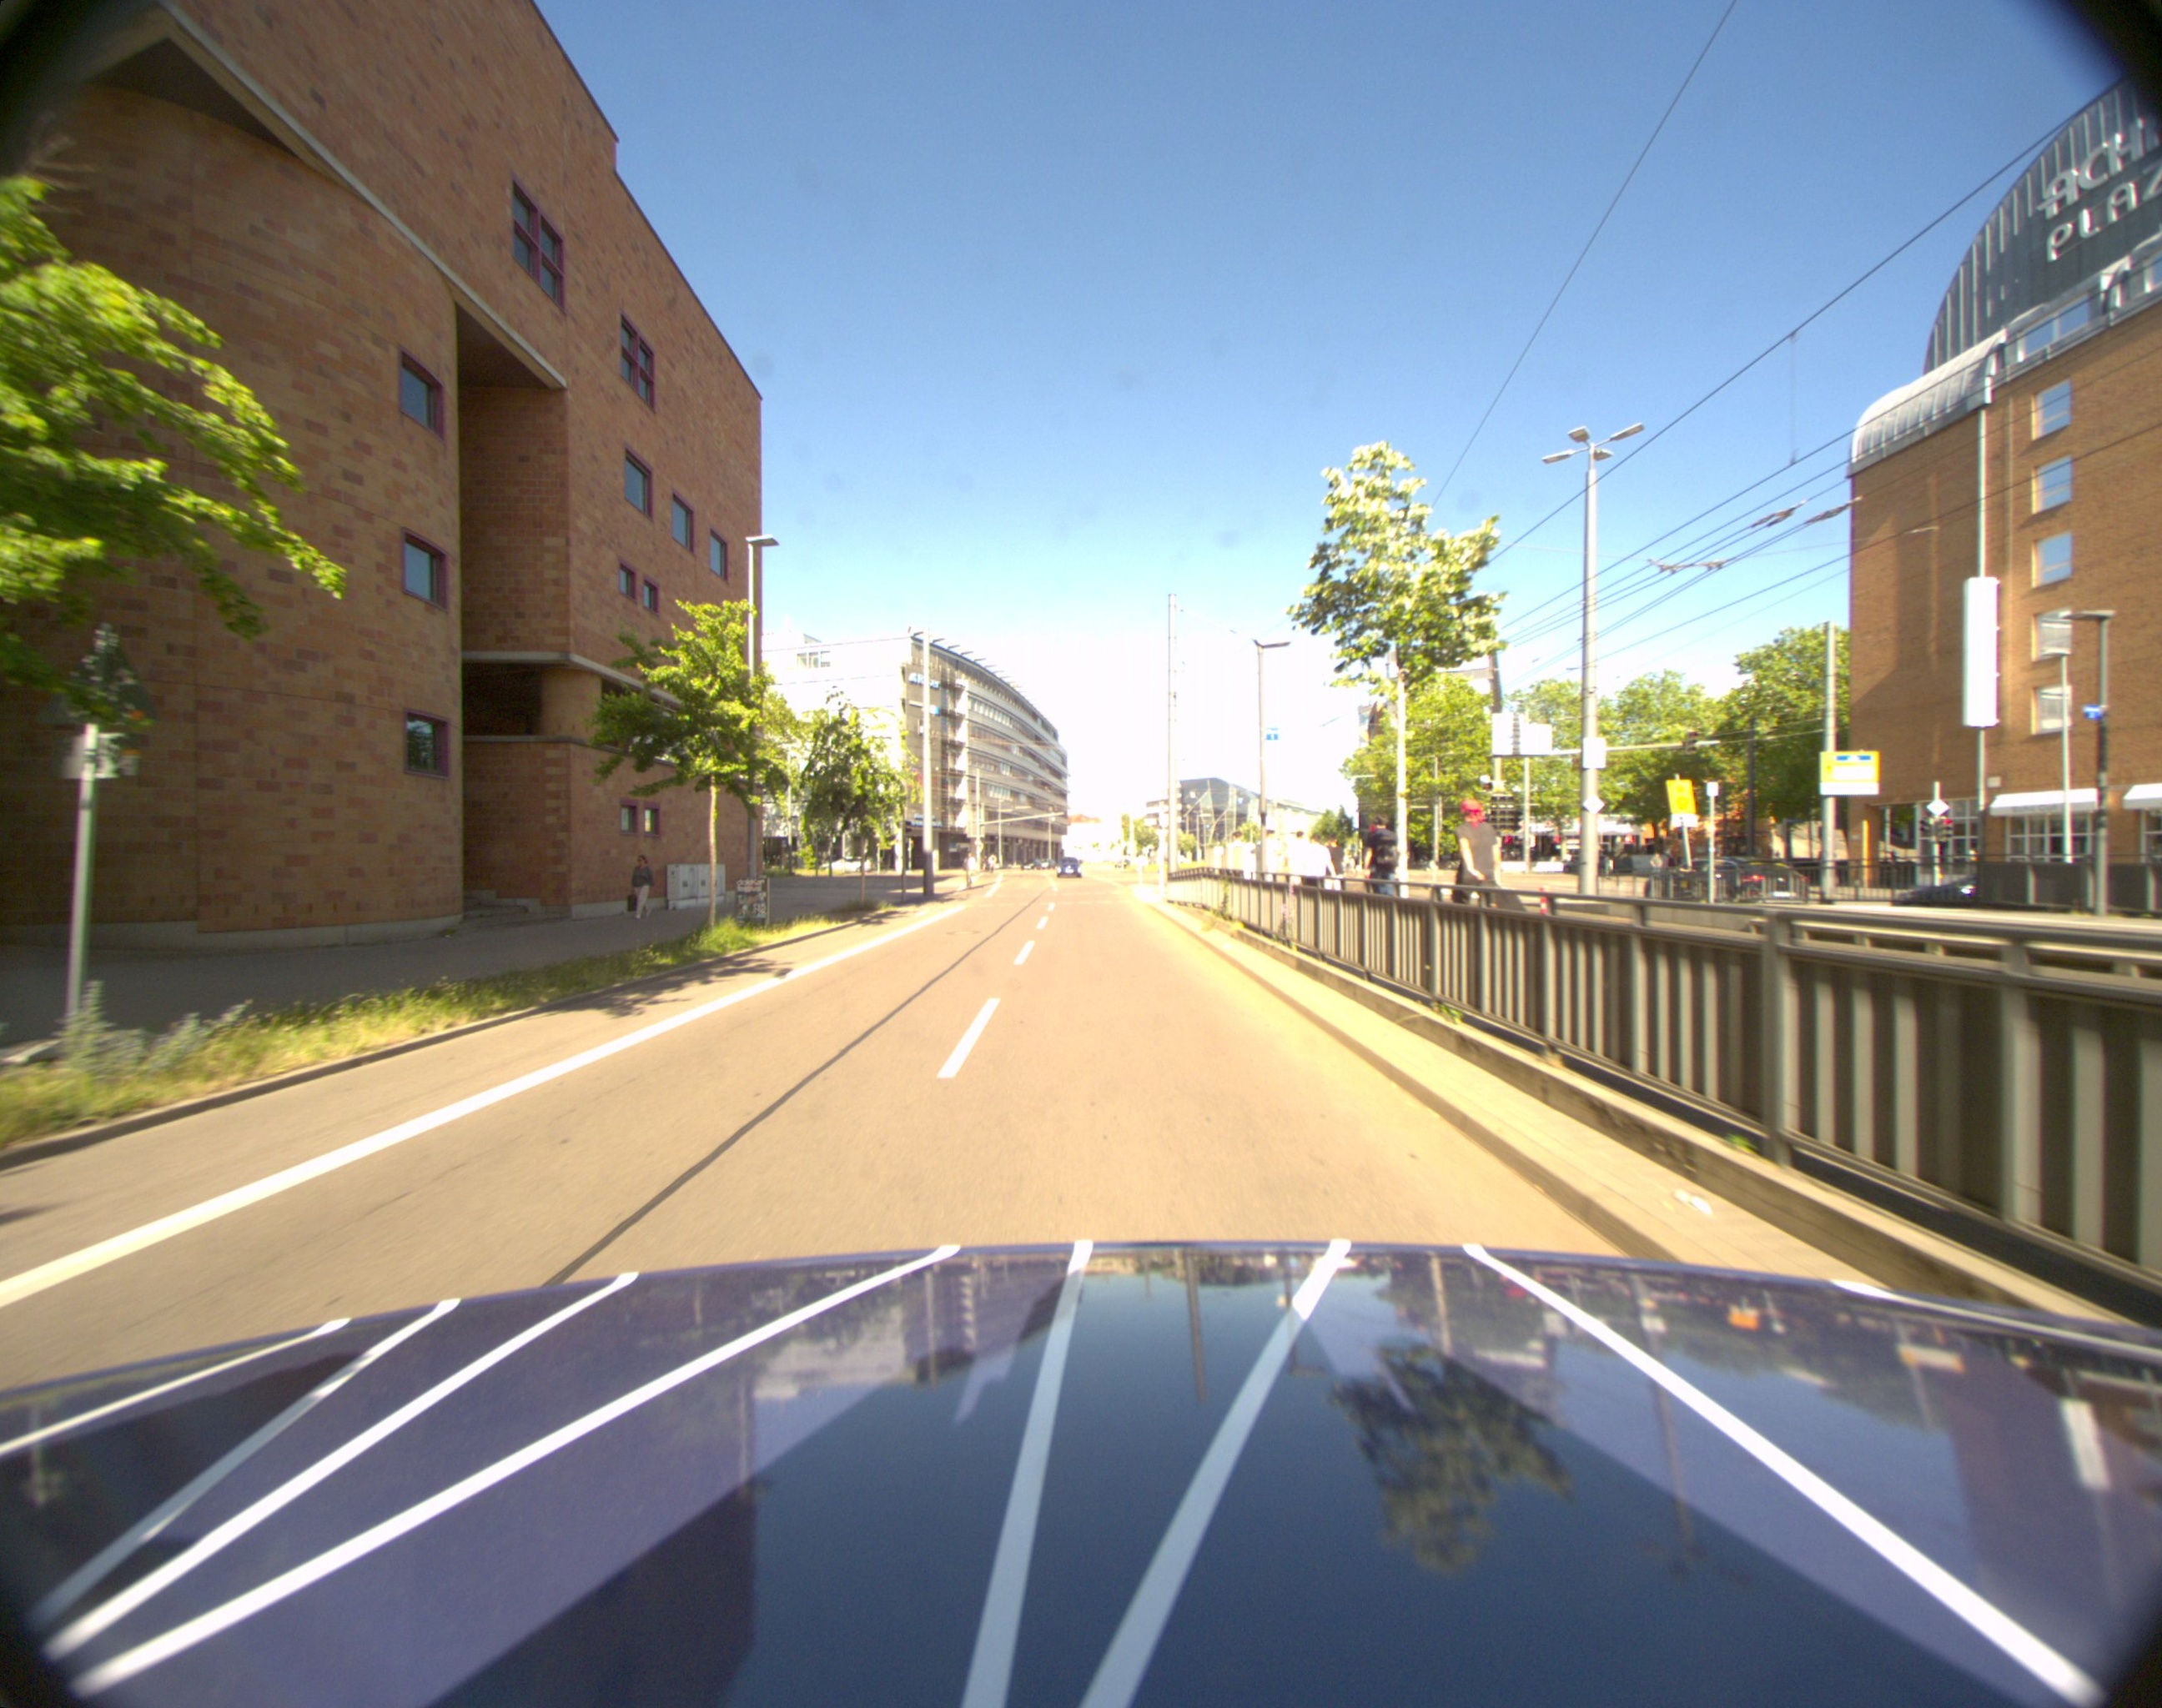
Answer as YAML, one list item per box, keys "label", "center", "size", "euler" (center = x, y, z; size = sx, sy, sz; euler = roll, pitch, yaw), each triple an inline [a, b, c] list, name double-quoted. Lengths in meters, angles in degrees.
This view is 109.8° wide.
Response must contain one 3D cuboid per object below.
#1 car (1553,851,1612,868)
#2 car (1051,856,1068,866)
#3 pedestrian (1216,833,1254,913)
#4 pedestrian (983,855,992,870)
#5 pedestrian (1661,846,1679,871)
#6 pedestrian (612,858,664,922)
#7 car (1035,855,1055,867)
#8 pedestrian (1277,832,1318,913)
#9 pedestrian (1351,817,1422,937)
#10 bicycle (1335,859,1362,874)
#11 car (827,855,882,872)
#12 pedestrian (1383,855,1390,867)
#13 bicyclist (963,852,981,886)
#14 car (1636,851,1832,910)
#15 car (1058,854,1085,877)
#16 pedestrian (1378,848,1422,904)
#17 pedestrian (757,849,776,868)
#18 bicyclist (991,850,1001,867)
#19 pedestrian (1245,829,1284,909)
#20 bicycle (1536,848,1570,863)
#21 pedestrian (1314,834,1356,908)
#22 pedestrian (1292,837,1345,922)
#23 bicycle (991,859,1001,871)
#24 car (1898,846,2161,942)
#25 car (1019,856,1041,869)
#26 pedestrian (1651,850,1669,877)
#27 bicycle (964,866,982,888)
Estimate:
- label: "car"
  center: [46.756, 0.492, 70.941]
  size: [4.169, 1.499, 1.910]
  euler: [0, 0, 4]
- label: "car"
  center: [-3.142, 1.035, 113.318]
  size: [1.882, 1.455, 4.002]
  euler: [-2, 1, 8]
- label: "pedestrian"
  center: [3.414, 0.413, 16.897]
  size: [0.649, 1.733, 0.820]
  euler: [0, 1, -2]
- label: "pedestrian"
  center: [-10.767, 1.009, 87.420]
  size: [0.858, 1.677, 0.802]
  euler: [0, 1, 14]
- label: "pedestrian"
  center: [38.228, 0.272, 49.299]
  size: [0.645, 1.601, 0.728]
  euler: [0, 1, 6]
- label: "pedestrian"
  center: [-11.539, 0.925, 19.821]
  size: [0.790, 1.610, 0.976]
  euler: [0, 1, -1]
- label: "car"
  center: [-4.979, 0.965, 105.362]
  size: [1.882, 1.455, 4.002]
  euler: [-2, 1, 8]
- label: "pedestrian"
  center: [4.799, 0.398, 16.899]
  size: [0.649, 1.764, 0.820]
  euler: [0, 1, -2]
- label: "pedestrian"
  center: [4.760, 0.345, 11.886]
  size: [0.756, 1.800, 0.840]
  euler: [0, 1, -2]
- label: "bicycle"
  center: [19.061, 0.881, 54.148]
  size: [1.837, 1.093, 0.639]
  euler: [0, 1, 18]
- label: "car"
  center: [-21.336, 0.840, 71.658]
  size: [4.853, 1.548, 1.933]
  euler: [0, 1, -13]
- label: "pedestrian"
  center: [34.721, 0.791, 86.416]
  size: [0.663, 1.389, 0.673]
  euler: [0, 1, 14]
- label: "bicyclist"
  center: [-5.707, 0.785, 39.800]
  size: [0.684, 1.718, 0.909]
  euler: [-2, 0, 3]
- label: "car"
  center: [18.095, 0.654, 21.387]
  size: [1.936, 1.489, 4.289]
  euler: [0, 0, 2]
- label: "car"
  center: [-0.685, 0.828, 56.776]
  size: [1.802, 1.596, 4.000]
  euler: [-2, 1, 2]
- label: "pedestrian"
  center: [9.808, 0.649, 23.385]
  size: [0.960, 1.680, 1.007]
  euler: [0, 1, 3]
- label: "pedestrian"
  center: [-32.973, 0.439, 79.718]
  size: [1.182, 2.002, 1.467]
  euler: [0, 1, 9]
- label: "bicyclist"
  center: [-7.867, 0.403, 70.463]
  size: [0.755, 1.607, 0.762]
  euler: [-2, 0, 4]
- label: "pedestrian"
  center: [4.097, 0.326, 16.979]
  size: [0.649, 1.733, 0.820]
  euler: [0, 1, -2]
- label: "bicycle"
  center: [48.980, 0.122, 78.847]
  size: [2.844, 1.528, 0.904]
  euler: [0, 1, 7]
- label: "pedestrian"
  center: [5.570, 0.361, 16.702]
  size: [0.609, 1.560, 0.908]
  euler: [0, 1, -2]
- label: "pedestrian"
  center: [4.587, 0.474, 14.710]
  size: [0.756, 1.609, 0.775]
  euler: [0, 1, -2]
- label: "bicycle"
  center: [-7.847, 1.009, 70.437]
  size: [0.578, 1.090, 1.507]
  euler: [-2, 0, 4]
- label: "car"
  center: [17.959, 0.620, 13.714]
  size: [1.936, 1.489, 4.289]
  euler: [-1, 0, 2]
- label: "car"
  center: [-6.453, 1.050, 96.900]
  size: [1.882, 1.455, 4.002]
  euler: [-2, 1, 8]
- label: "pedestrian"
  center: [37.064, 0.592, 48.627]
  size: [0.645, 1.696, 0.728]
  euler: [0, 1, 6]
- label: "bicycle"
  center: [-5.655, 1.183, 39.901]
  size: [0.578, 1.090, 1.507]
  euler: [-2, 0, 3]
